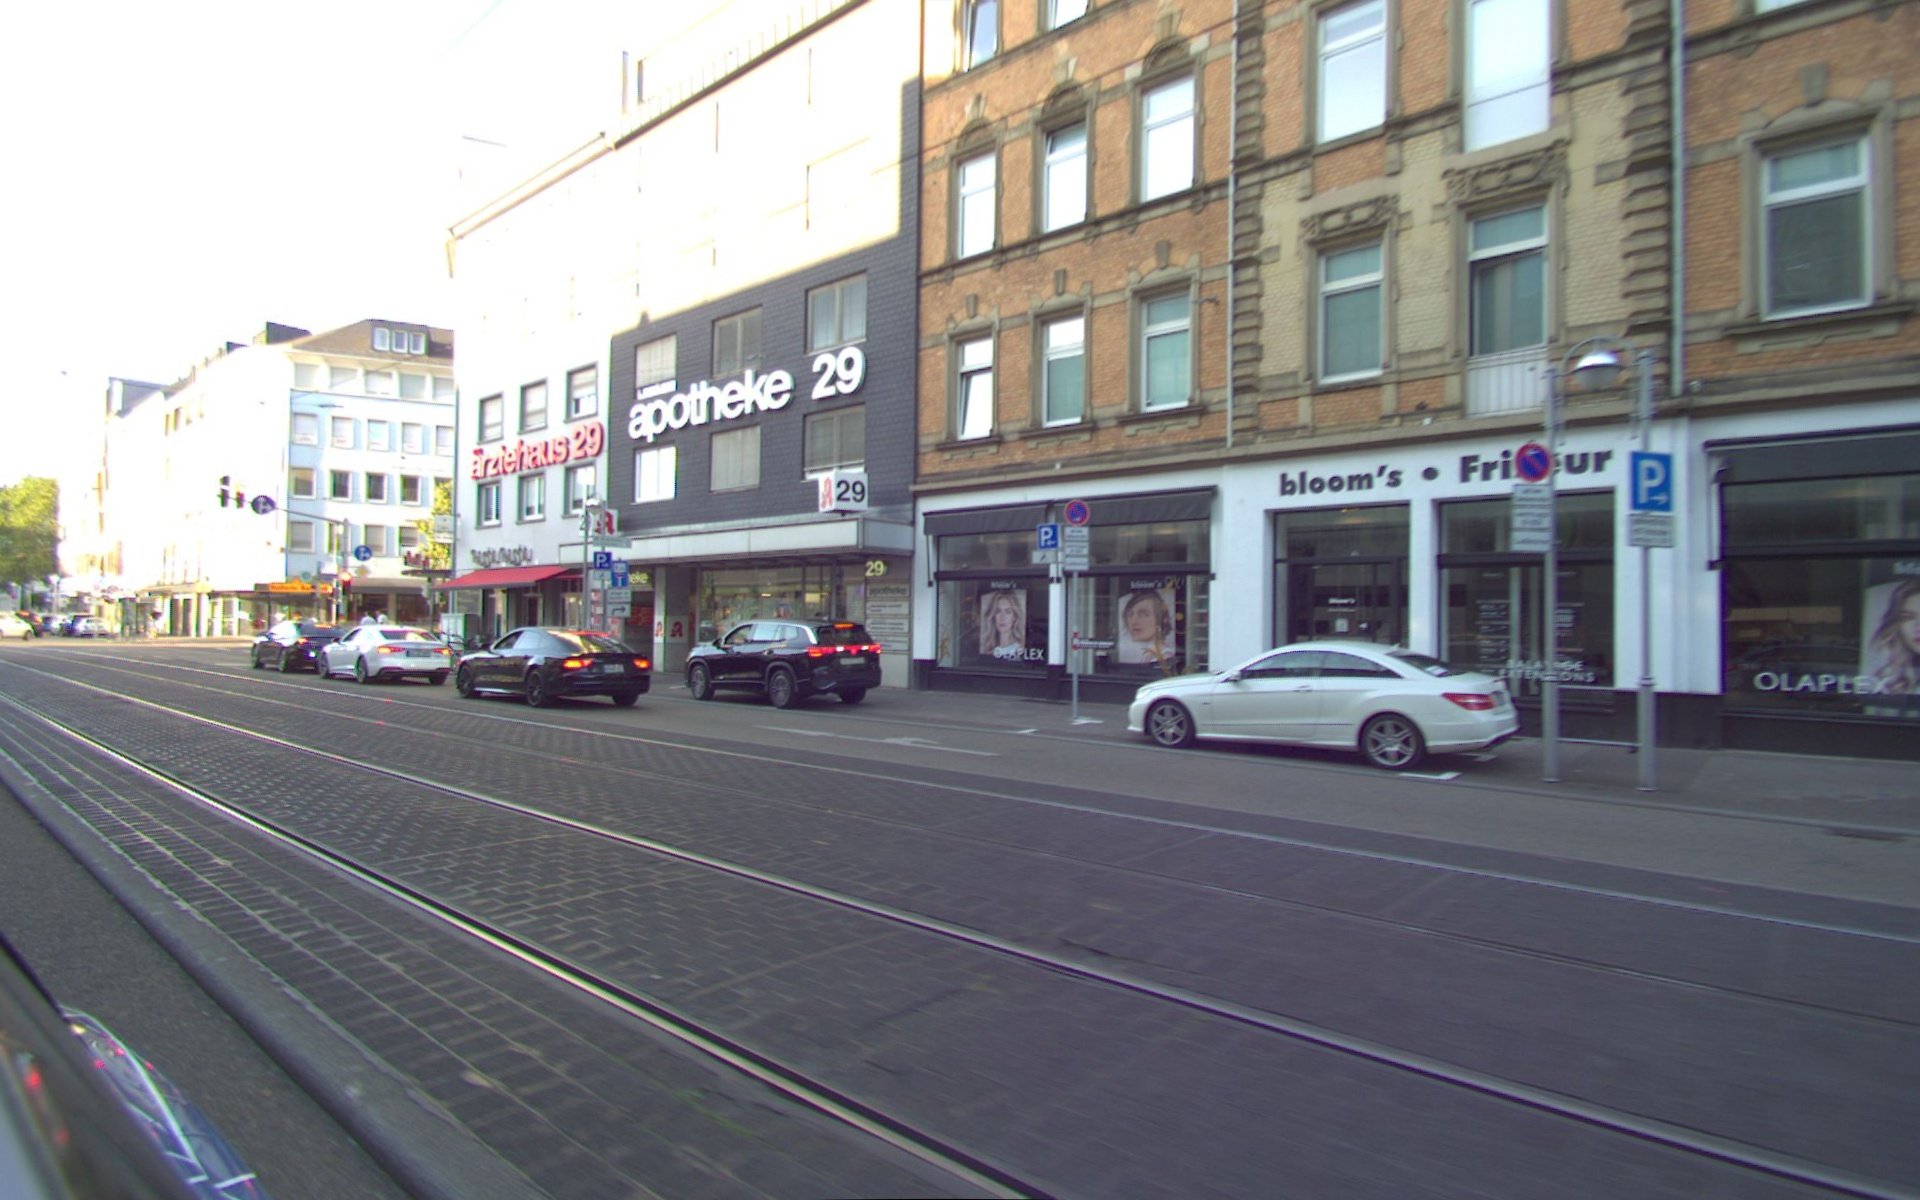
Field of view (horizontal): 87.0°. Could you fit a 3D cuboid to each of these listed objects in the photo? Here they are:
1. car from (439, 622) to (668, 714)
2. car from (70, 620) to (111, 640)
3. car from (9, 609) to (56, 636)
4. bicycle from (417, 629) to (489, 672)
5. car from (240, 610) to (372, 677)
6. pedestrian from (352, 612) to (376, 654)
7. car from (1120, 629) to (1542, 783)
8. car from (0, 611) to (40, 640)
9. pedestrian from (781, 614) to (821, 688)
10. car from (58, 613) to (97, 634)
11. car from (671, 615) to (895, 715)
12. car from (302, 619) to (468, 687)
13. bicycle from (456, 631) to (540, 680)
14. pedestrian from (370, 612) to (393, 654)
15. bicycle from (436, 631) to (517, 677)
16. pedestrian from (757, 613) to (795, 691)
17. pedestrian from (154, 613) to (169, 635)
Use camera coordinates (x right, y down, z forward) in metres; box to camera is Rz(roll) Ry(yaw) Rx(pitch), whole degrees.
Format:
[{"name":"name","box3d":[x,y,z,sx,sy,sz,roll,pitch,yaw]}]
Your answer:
[{"name":"car","box3d":[-7.575,1.181,18.653,4.646,1.464,1.973,-1,-3,41]},{"name":"car","box3d":[-57.846,1.990,67.314,3.388,1.263,1.615,-2,0,42]},{"name":"car","box3d":[-61.586,1.485,67.192,4.257,1.711,1.804,-1,-2,41]},{"name":"bicycle","box3d":[-15.228,1.499,30.451,0.553,1.220,1.871,-1,0,41]},{"name":"car","box3d":[-18.658,1.200,28.802,4.727,1.740,1.972,-1,-4,43]},{"name":"pedestrian","box3d":[-25.650,1.421,43.564,0.666,1.758,0.632,0,-2,30]},{"name":"car","box3d":[4.479,1.160,12.624,4.605,1.464,1.850,0,0,39]},{"name":"car","box3d":[-51.331,1.348,53.845,1.691,1.483,3.994,1,-2,-12]},{"name":"pedestrian","box3d":[-3.693,1.171,23.446,0.624,1.673,0.675,-2,-2,41]},{"name":"car","box3d":[-61.213,1.658,70.196,3.388,1.364,1.615,-2,0,42]},{"name":"car","box3d":[-3.515,1.153,19.513,4.647,1.687,1.909,-1,-1,44]},{"name":"car","box3d":[-14.058,1.259,24.619,4.653,1.464,1.973,0,-4,40]},{"name":"bicycle","box3d":[-12.942,1.531,28.390,0.553,1.233,2.090,-1,0,41]},{"name":"pedestrian","box3d":[-25.233,1.428,44.165,0.598,1.792,0.631,0,-2,32]},{"name":"bicycle","box3d":[-14.034,1.544,29.426,0.553,1.233,2.090,-1,0,41]},{"name":"pedestrian","box3d":[-4.161,1.168,22.934,0.602,1.712,0.614,-2,-2,41]},{"name":"pedestrian","box3d":[-54.792,1.677,69.468,0.621,1.483,0.539,-1,1,26]}]
